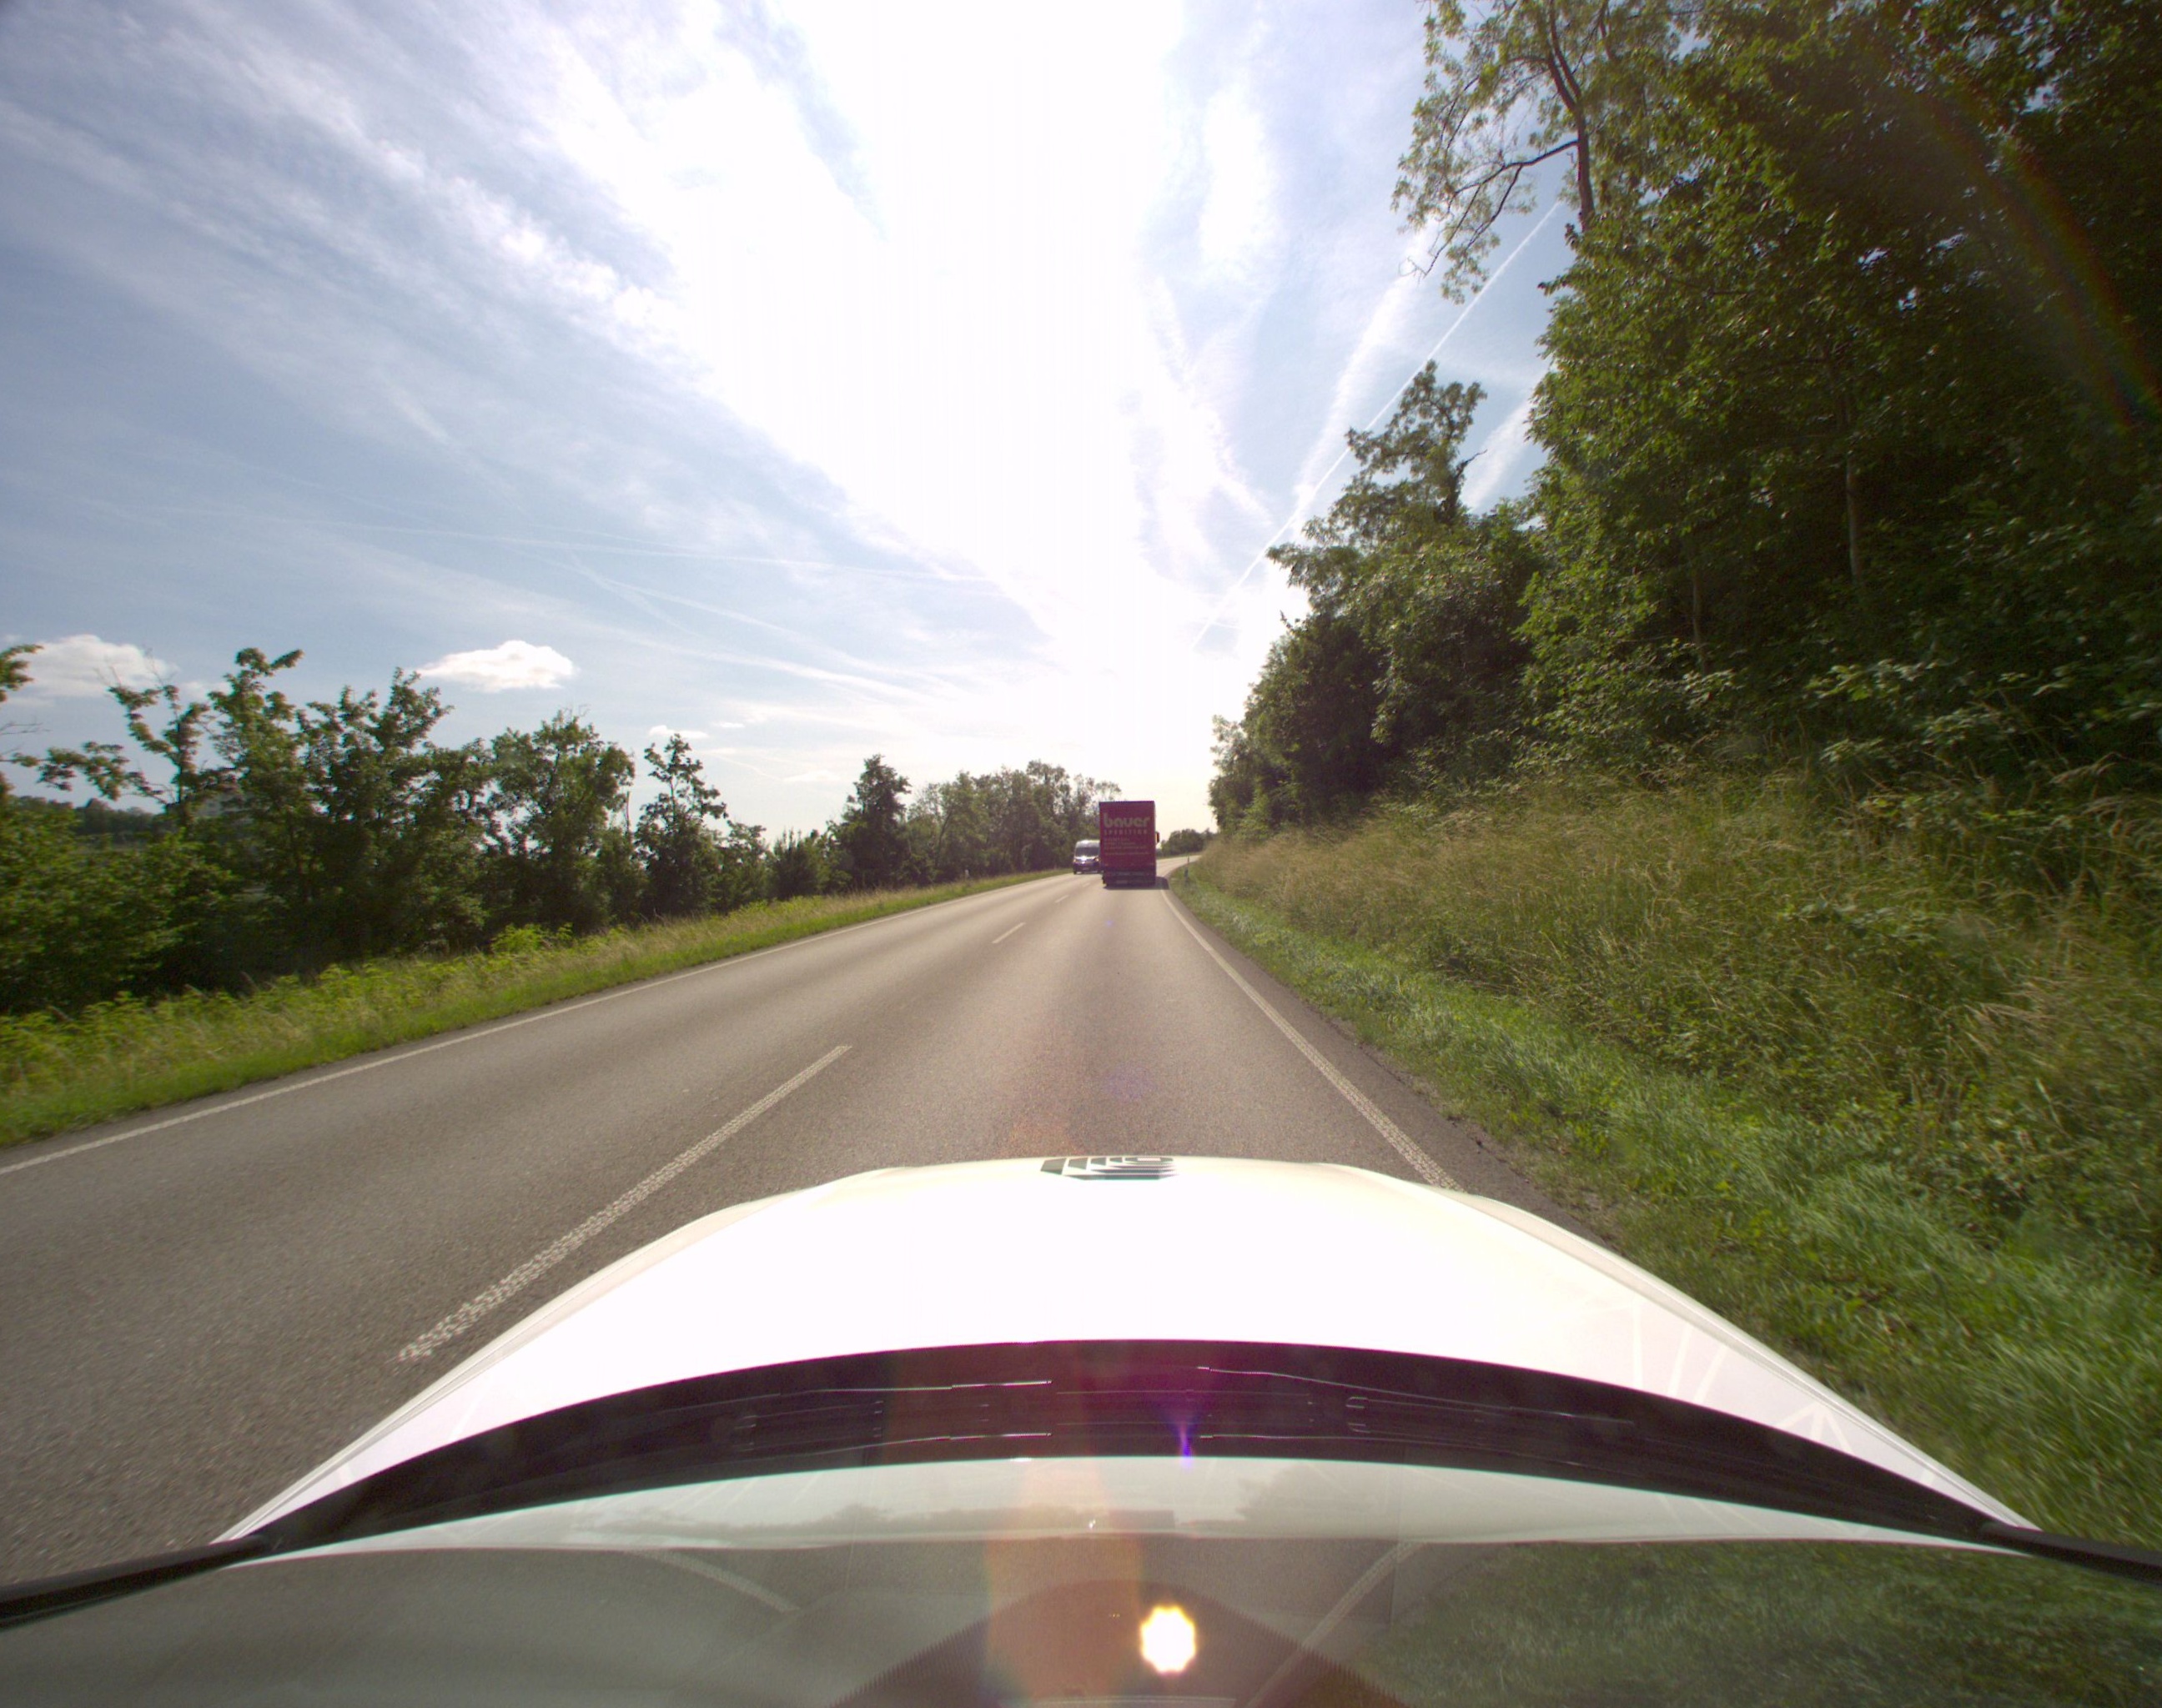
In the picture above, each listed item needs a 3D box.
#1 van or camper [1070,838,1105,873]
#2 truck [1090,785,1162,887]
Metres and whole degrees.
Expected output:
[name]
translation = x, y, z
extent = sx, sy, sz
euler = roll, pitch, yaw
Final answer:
[van or camper]
translation = 0.568, 0.116, 62.886
extent = 2.198, 2.528, 6.140
euler = -2, 0, 4
[truck]
translation = 2.379, -0.799, 42.802
extent = 3.099, 4.506, 12.178
euler = -1, 0, 3
